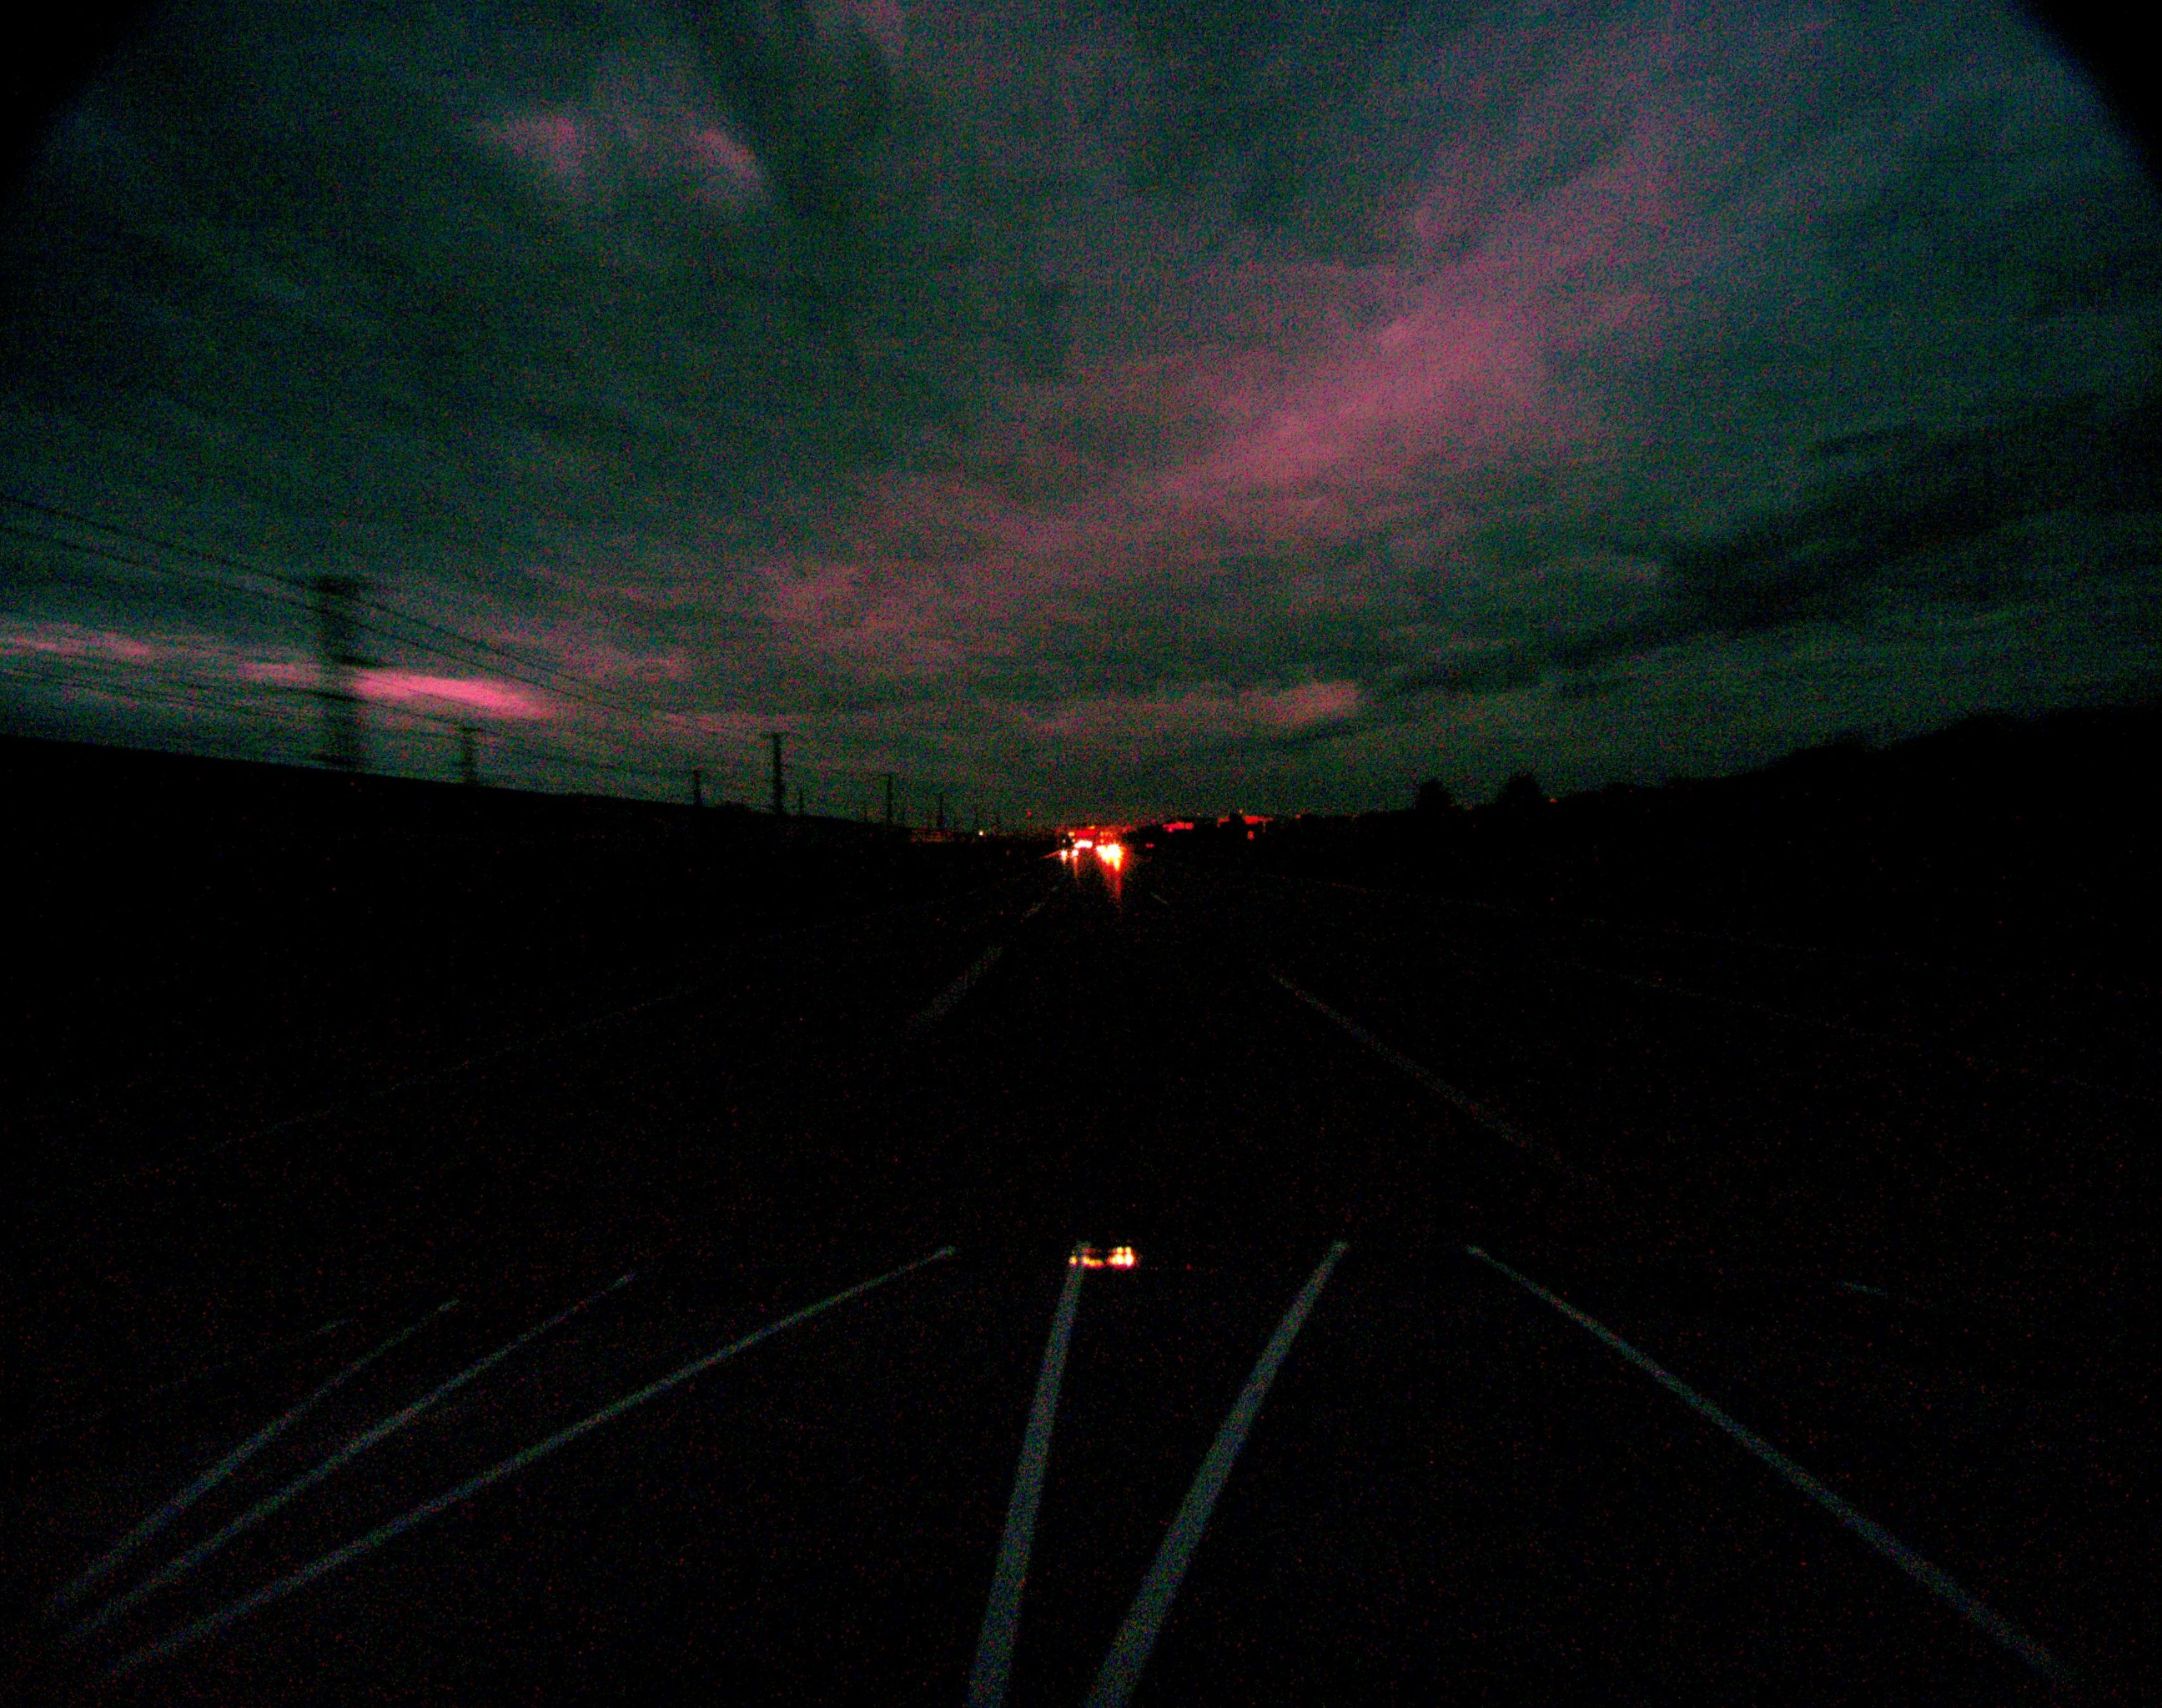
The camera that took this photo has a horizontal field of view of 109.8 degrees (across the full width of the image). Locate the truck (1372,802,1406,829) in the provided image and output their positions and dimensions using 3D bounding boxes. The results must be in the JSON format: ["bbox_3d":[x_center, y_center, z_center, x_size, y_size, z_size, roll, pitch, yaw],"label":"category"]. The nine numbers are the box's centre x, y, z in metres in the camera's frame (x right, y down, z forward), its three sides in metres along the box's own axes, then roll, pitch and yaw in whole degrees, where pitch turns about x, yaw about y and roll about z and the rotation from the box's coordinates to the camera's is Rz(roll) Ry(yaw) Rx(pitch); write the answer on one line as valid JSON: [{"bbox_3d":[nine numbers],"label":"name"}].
[{"bbox_3d":[48.965,-6.105,120.803,2.698,4.048,5.474,-2,1,-5],"label":"truck"}]

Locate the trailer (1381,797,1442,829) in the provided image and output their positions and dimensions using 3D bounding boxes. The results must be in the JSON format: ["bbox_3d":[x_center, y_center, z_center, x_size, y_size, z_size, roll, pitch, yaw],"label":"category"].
[{"bbox_3d":[49.502,-6.051,114.391,2.698,4.048,12.484,-2,1,-5],"label":"trailer"}]

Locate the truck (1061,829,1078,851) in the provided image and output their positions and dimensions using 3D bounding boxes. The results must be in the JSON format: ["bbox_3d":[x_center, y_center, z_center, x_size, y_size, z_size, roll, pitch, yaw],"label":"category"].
[{"bbox_3d":[-2.104,-2.677,147.676,3.060,4.047,10.520,0,0,0],"label":"truck"}]

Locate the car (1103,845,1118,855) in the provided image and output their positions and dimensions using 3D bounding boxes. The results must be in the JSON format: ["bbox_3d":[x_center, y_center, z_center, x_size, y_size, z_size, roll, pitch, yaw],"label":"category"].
[{"bbox_3d":[4.393,-0.565,111.836,1.998,1.342,4.174,2,1,0],"label":"car"}]

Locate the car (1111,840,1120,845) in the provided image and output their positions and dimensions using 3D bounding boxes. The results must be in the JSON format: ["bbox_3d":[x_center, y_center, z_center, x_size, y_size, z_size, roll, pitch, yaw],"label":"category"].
[{"bbox_3d":[9.619,-3.283,211.149,1.999,1.342,4.174,-2,1,-1],"label":"car"}]

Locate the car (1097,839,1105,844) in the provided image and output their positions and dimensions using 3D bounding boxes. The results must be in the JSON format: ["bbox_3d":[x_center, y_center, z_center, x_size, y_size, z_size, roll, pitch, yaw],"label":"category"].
[{"bbox_3d":[5.497,-3.401,209.358,1.998,1.342,4.174,-2,1,1],"label":"car"}]
